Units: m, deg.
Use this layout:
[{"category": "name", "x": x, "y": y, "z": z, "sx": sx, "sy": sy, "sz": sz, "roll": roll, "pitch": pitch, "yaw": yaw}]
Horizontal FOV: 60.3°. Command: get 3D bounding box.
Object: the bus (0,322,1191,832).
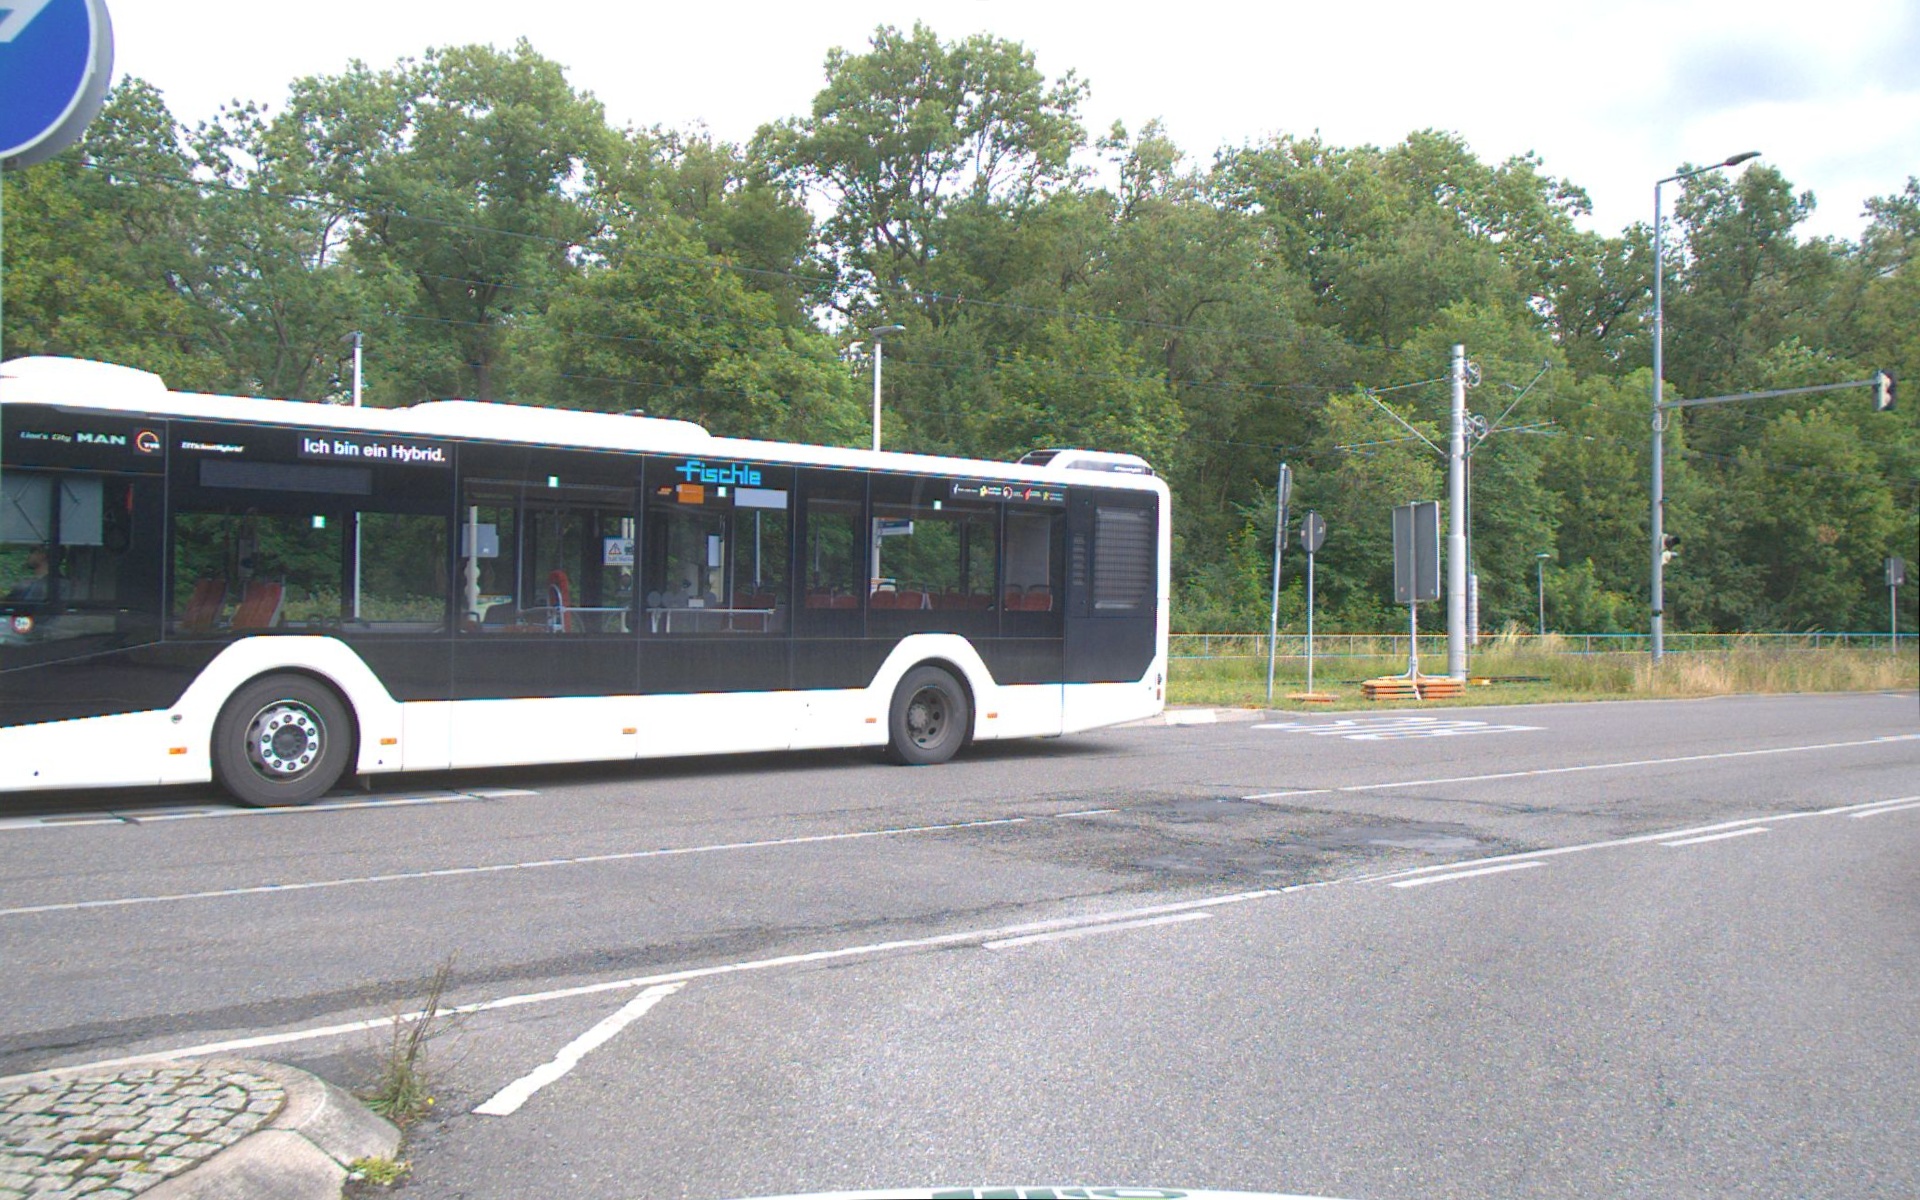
[{"category": "bus", "x": -3.018, "y": -0.068, "z": 14.869, "sx": 12.079, "sy": 3.259, "sz": 2.637, "roll": 1, "pitch": -1, "yaw": -39}]
